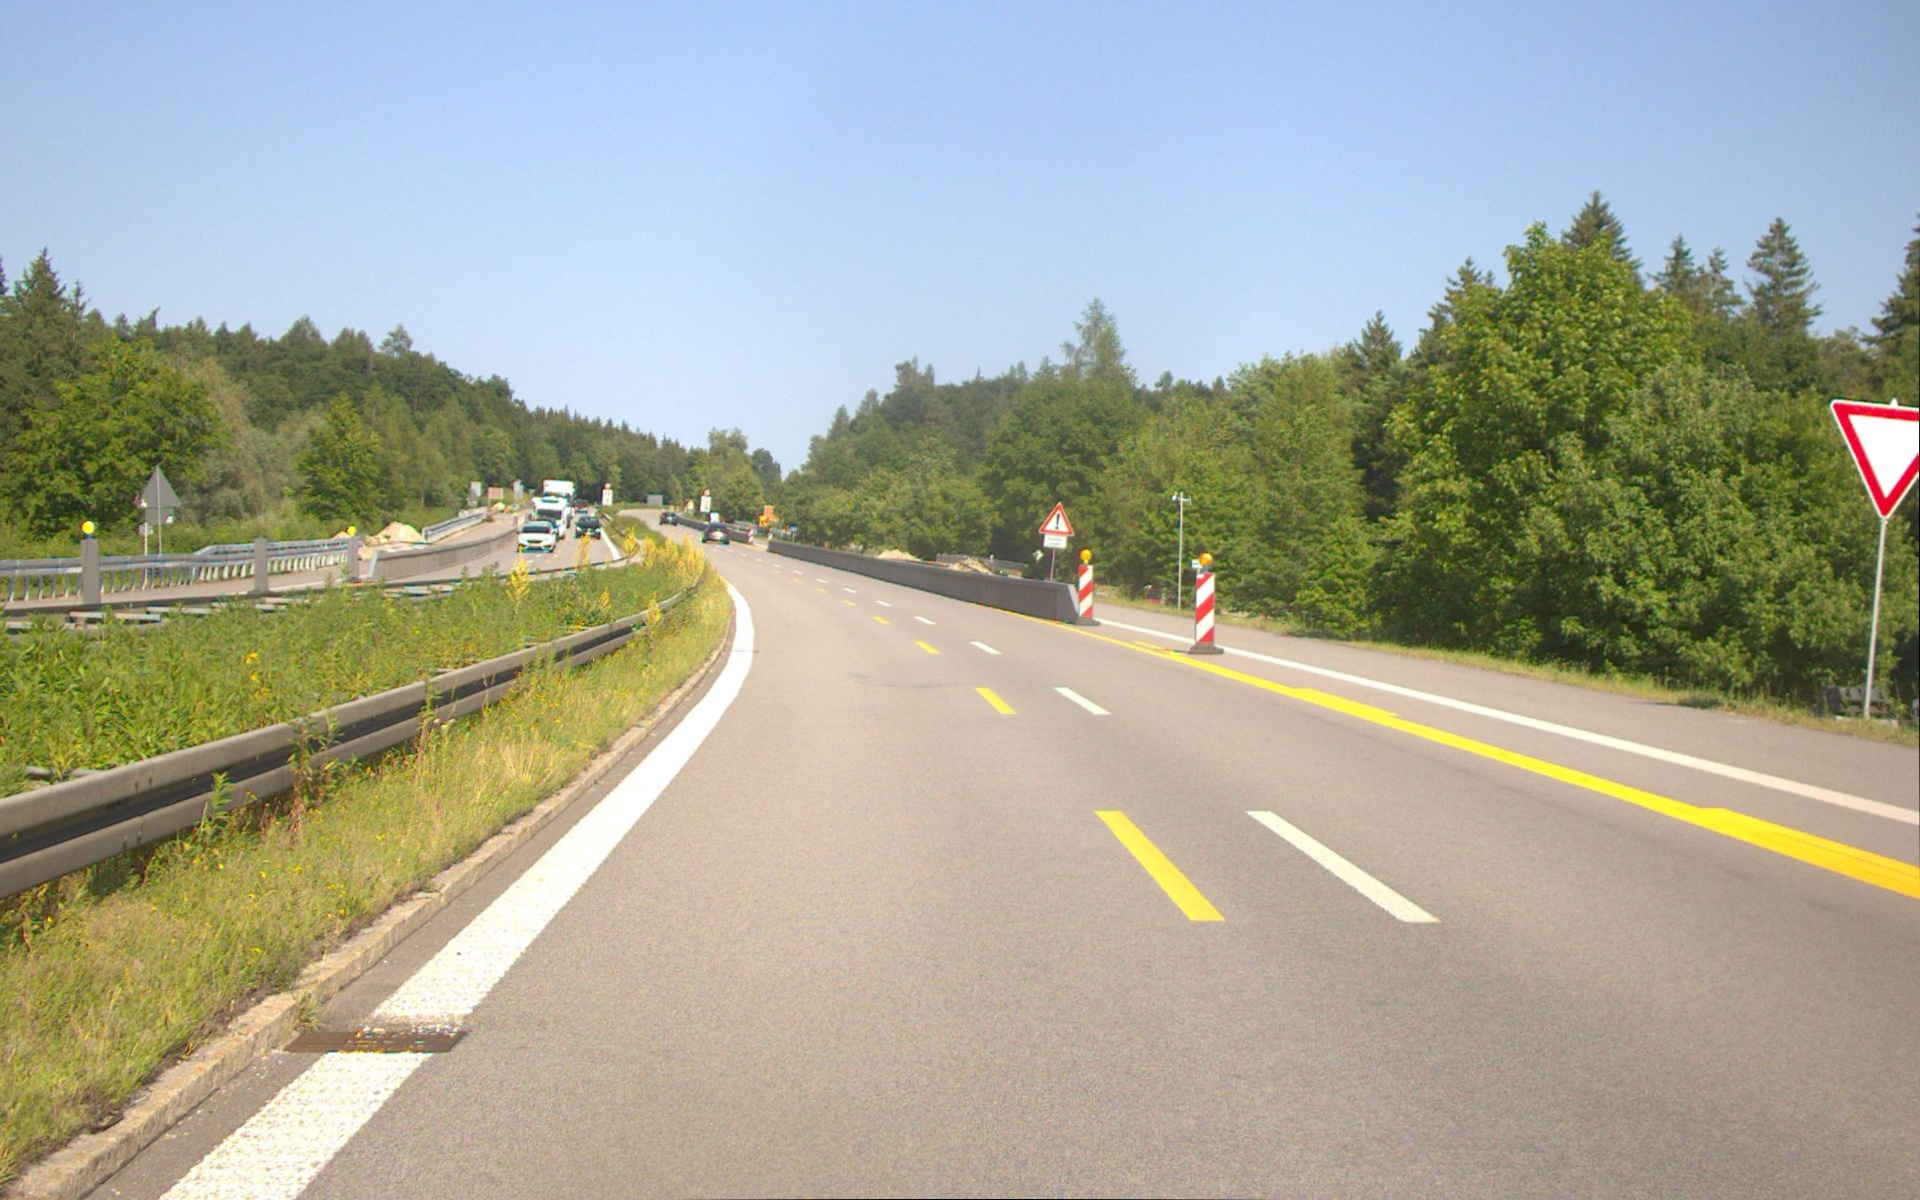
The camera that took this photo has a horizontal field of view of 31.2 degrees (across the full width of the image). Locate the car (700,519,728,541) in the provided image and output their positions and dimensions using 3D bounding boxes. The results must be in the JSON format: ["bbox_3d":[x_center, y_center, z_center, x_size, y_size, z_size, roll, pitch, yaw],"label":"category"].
[{"bbox_3d":[-17.464,-4.973,244.238,1.743,1.461,4.295,3,1,-6],"label":"car"}]

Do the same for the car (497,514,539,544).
[{"bbox_3d":[-21.981,-3.542,171.152,1.883,1.427,4.985,2,1,-5],"label":"car"}]

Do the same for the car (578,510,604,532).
[{"bbox_3d":[-26.343,-5.638,245.272,1.741,1.524,4.001,0,2,-5],"label":"car"}]
